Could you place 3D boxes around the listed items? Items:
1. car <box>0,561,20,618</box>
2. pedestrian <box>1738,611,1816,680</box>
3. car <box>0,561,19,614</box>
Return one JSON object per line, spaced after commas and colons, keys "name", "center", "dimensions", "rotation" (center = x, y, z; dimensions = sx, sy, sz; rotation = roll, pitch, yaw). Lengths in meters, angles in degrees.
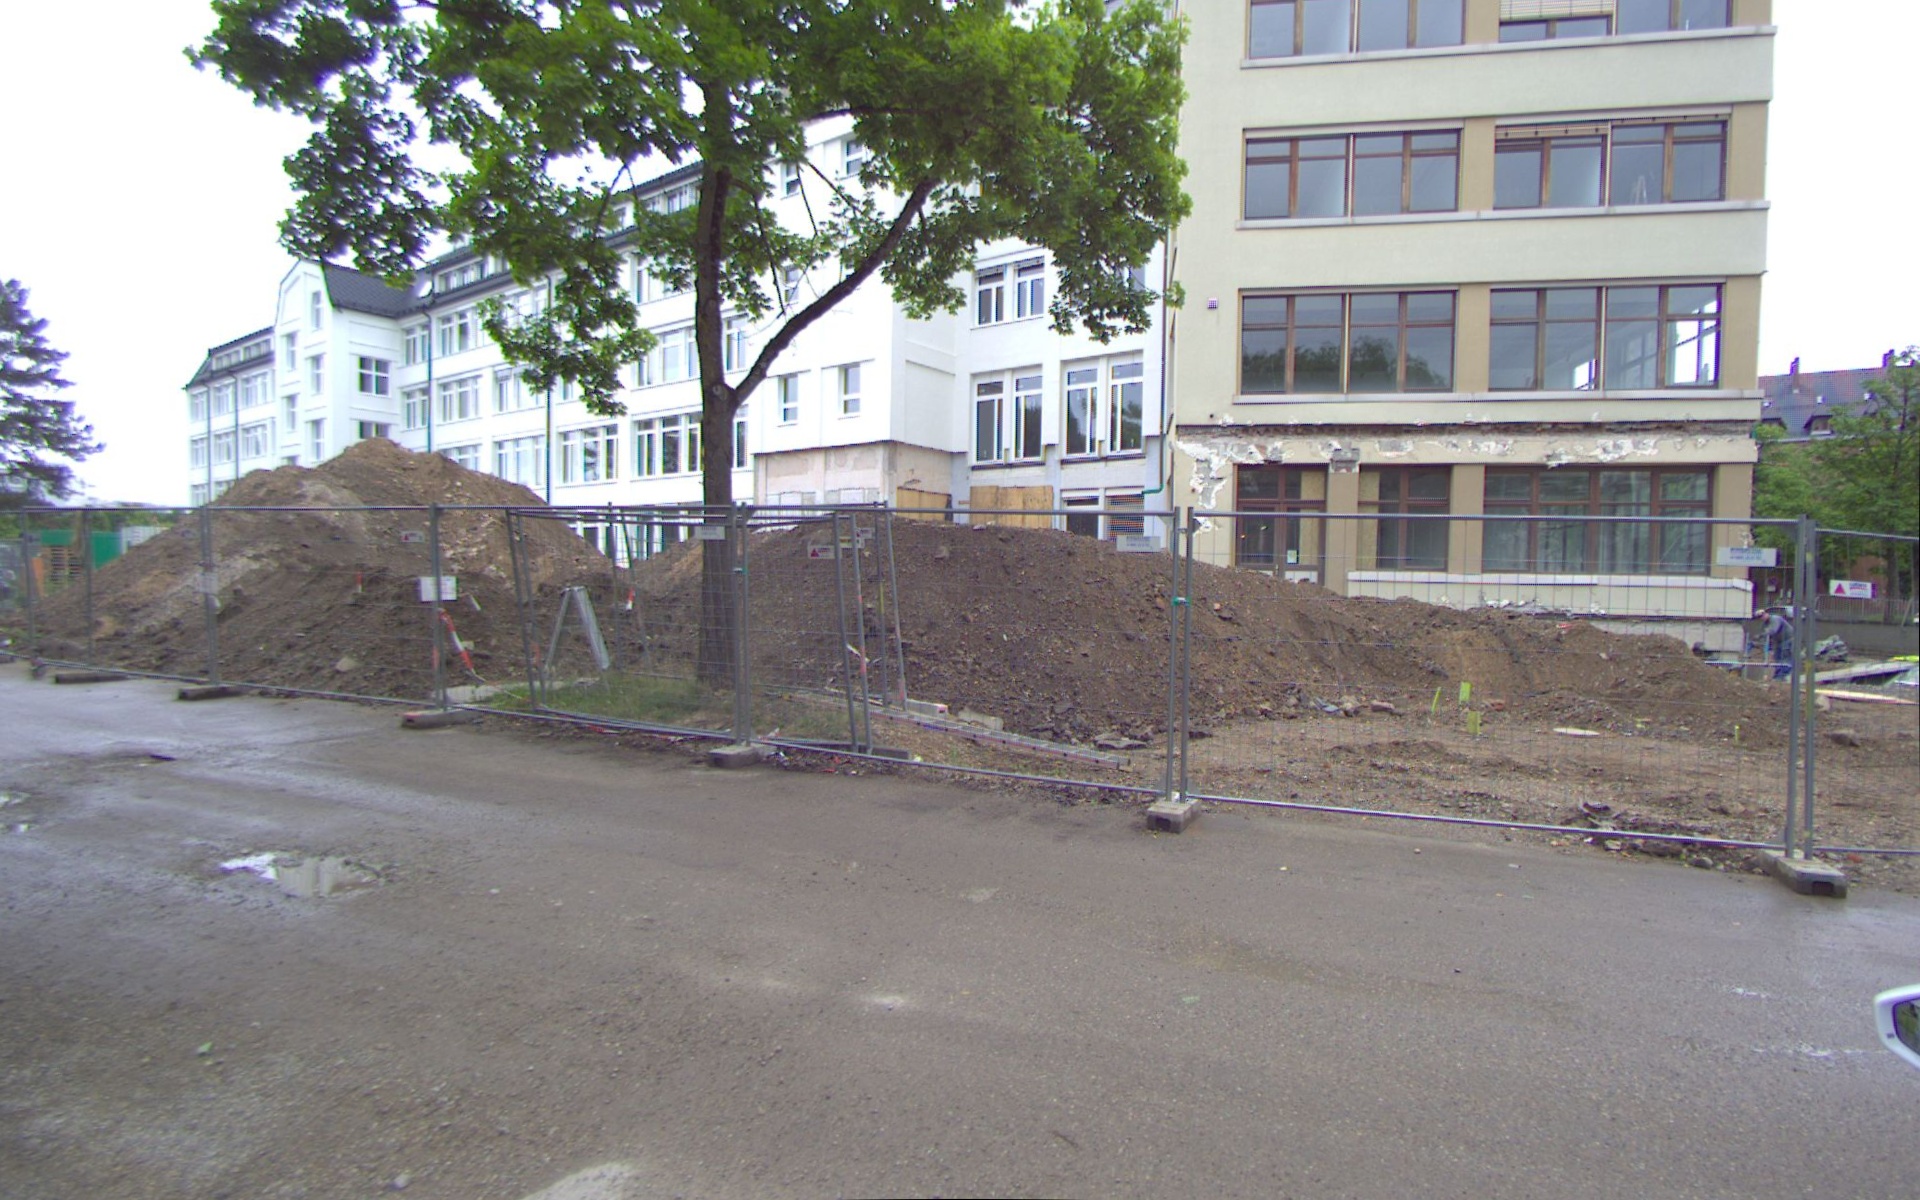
{"name": "car", "center": [-32.822, -0.381, 32.106], "dimensions": [1.973, 1.862, 3.975], "rotation": [2, 1, 44]}
{"name": "pedestrian", "center": [18.204, 0.993, 22.398], "dimensions": [0.963, 1.457, 0.931], "rotation": [2, 1, 6]}
{"name": "car", "center": [-35.193, -0.462, 34.622], "dimensions": [1.973, 1.862, 3.975], "rotation": [2, 1, 44]}
